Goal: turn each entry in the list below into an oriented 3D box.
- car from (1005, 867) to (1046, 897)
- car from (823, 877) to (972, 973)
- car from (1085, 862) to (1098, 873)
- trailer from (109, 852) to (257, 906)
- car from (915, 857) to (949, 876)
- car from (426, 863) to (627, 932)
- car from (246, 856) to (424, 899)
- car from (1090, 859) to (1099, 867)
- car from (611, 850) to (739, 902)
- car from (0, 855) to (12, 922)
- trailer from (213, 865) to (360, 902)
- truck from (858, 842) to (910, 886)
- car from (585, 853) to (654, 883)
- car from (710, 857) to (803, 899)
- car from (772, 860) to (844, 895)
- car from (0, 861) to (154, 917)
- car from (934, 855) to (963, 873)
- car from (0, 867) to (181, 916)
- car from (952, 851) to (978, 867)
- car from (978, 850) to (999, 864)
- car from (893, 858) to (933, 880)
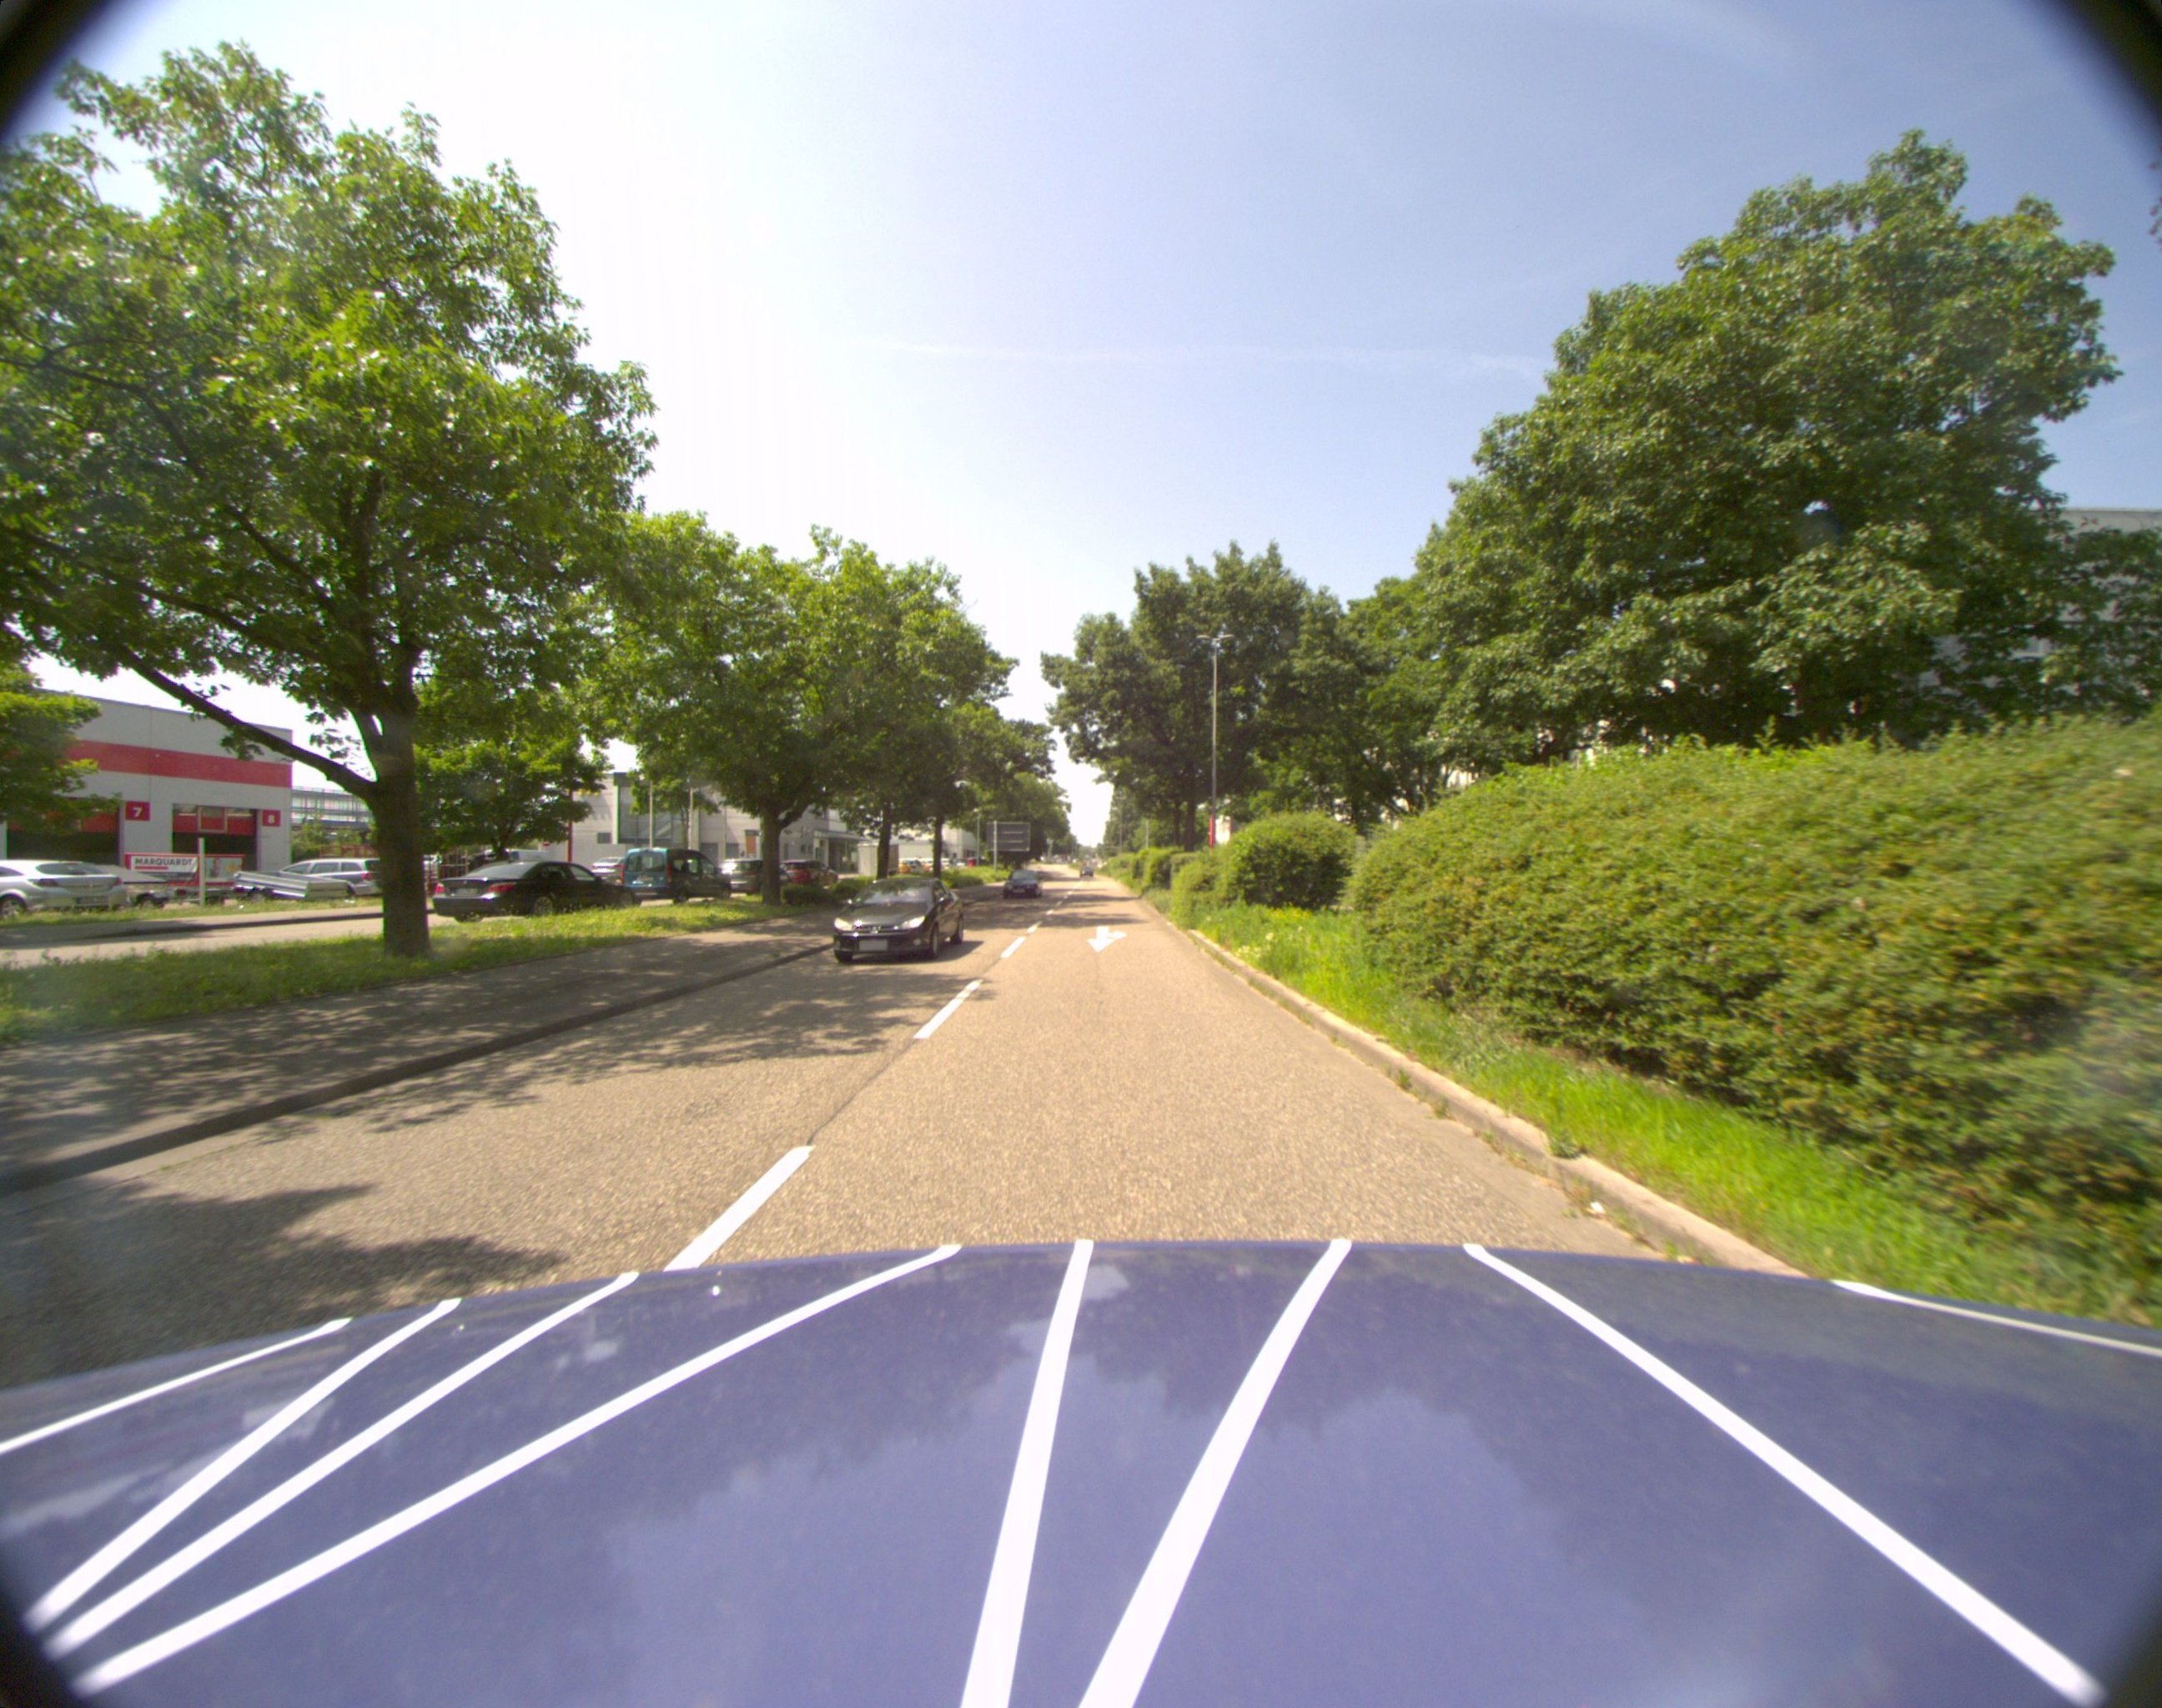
[{"bbox_3d":[-2.711,1.348,37.756,1.642,1.363,4.145,-2,0,1],"label":"car"},{"bbox_3d":[-3.133,1.167,13.802,1.642,1.336,4.000,-2,0,1],"label":"car"},{"bbox_3d":[1.424,1.825,102.407,1.642,1.395,4.000,0,0,1],"label":"car"},{"bbox_3d":[-26.354,0.730,22.359,2.642,1.518,1.415,0,0,-1],"label":"trailer"},{"bbox_3d":[-11.492,0.958,58.897,1.719,1.458,4.001,0,0,2],"label":"car"},{"bbox_3d":[-12.597,0.917,17.617,1.642,1.363,4.001,0,0,2],"label":"car"},{"bbox_3d":[-23.967,0.737,24.520,3.997,1.293,1.689,0,0,-2],"label":"car"},{"bbox_3d":[2.964,2.097,171.326,1.998,1.692,4.000,0,0,1],"label":"car"},{"bbox_3d":[-12.492,0.640,23.688,1.719,1.458,4.001,0,0,2],"label":"car"},{"bbox_3d":[-24.447,0.700,15.038,3.997,1.394,1.747,0,0,-2],"label":"car"},{"bbox_3d":[-23.362,0.851,22.421,2.642,1.046,1.578,0,0,-1],"label":"trailer"},{"bbox_3d":[-12.018,0.612,46.645,1.904,2.552,4.001,0,0,3],"label":"truck"},{"bbox_3d":[-25.832,0.740,42.690,1.759,1.586,3.998,0,0,-5],"label":"car"},{"bbox_3d":[-12.287,0.862,29.042,1.719,1.511,4.001,0,0,2],"label":"car"},{"bbox_3d":[-12.484,1.024,34.979,1.719,1.504,4.001,0,0,2],"label":"car"},{"bbox_3d":[-24.350,0.768,17.412,3.997,1.201,1.747,0,0,-2],"label":"car"},{"bbox_3d":[-11.631,0.868,66.780,1.719,1.458,4.001,0,0,2],"label":"car"},{"bbox_3d":[-26.219,0.960,20.059,3.216,1.201,1.447,0,0,0],"label":"car"},{"bbox_3d":[-11.086,0.511,72.835,1.719,1.458,4.001,0,0,2],"label":"car"},{"bbox_3d":[-10.450,0.337,86.243,1.719,1.458,4.001,0,0,2],"label":"car"},{"bbox_3d":[-11.595,1.033,52.644,1.719,1.458,4.001,0,0,2],"label":"car"}]
